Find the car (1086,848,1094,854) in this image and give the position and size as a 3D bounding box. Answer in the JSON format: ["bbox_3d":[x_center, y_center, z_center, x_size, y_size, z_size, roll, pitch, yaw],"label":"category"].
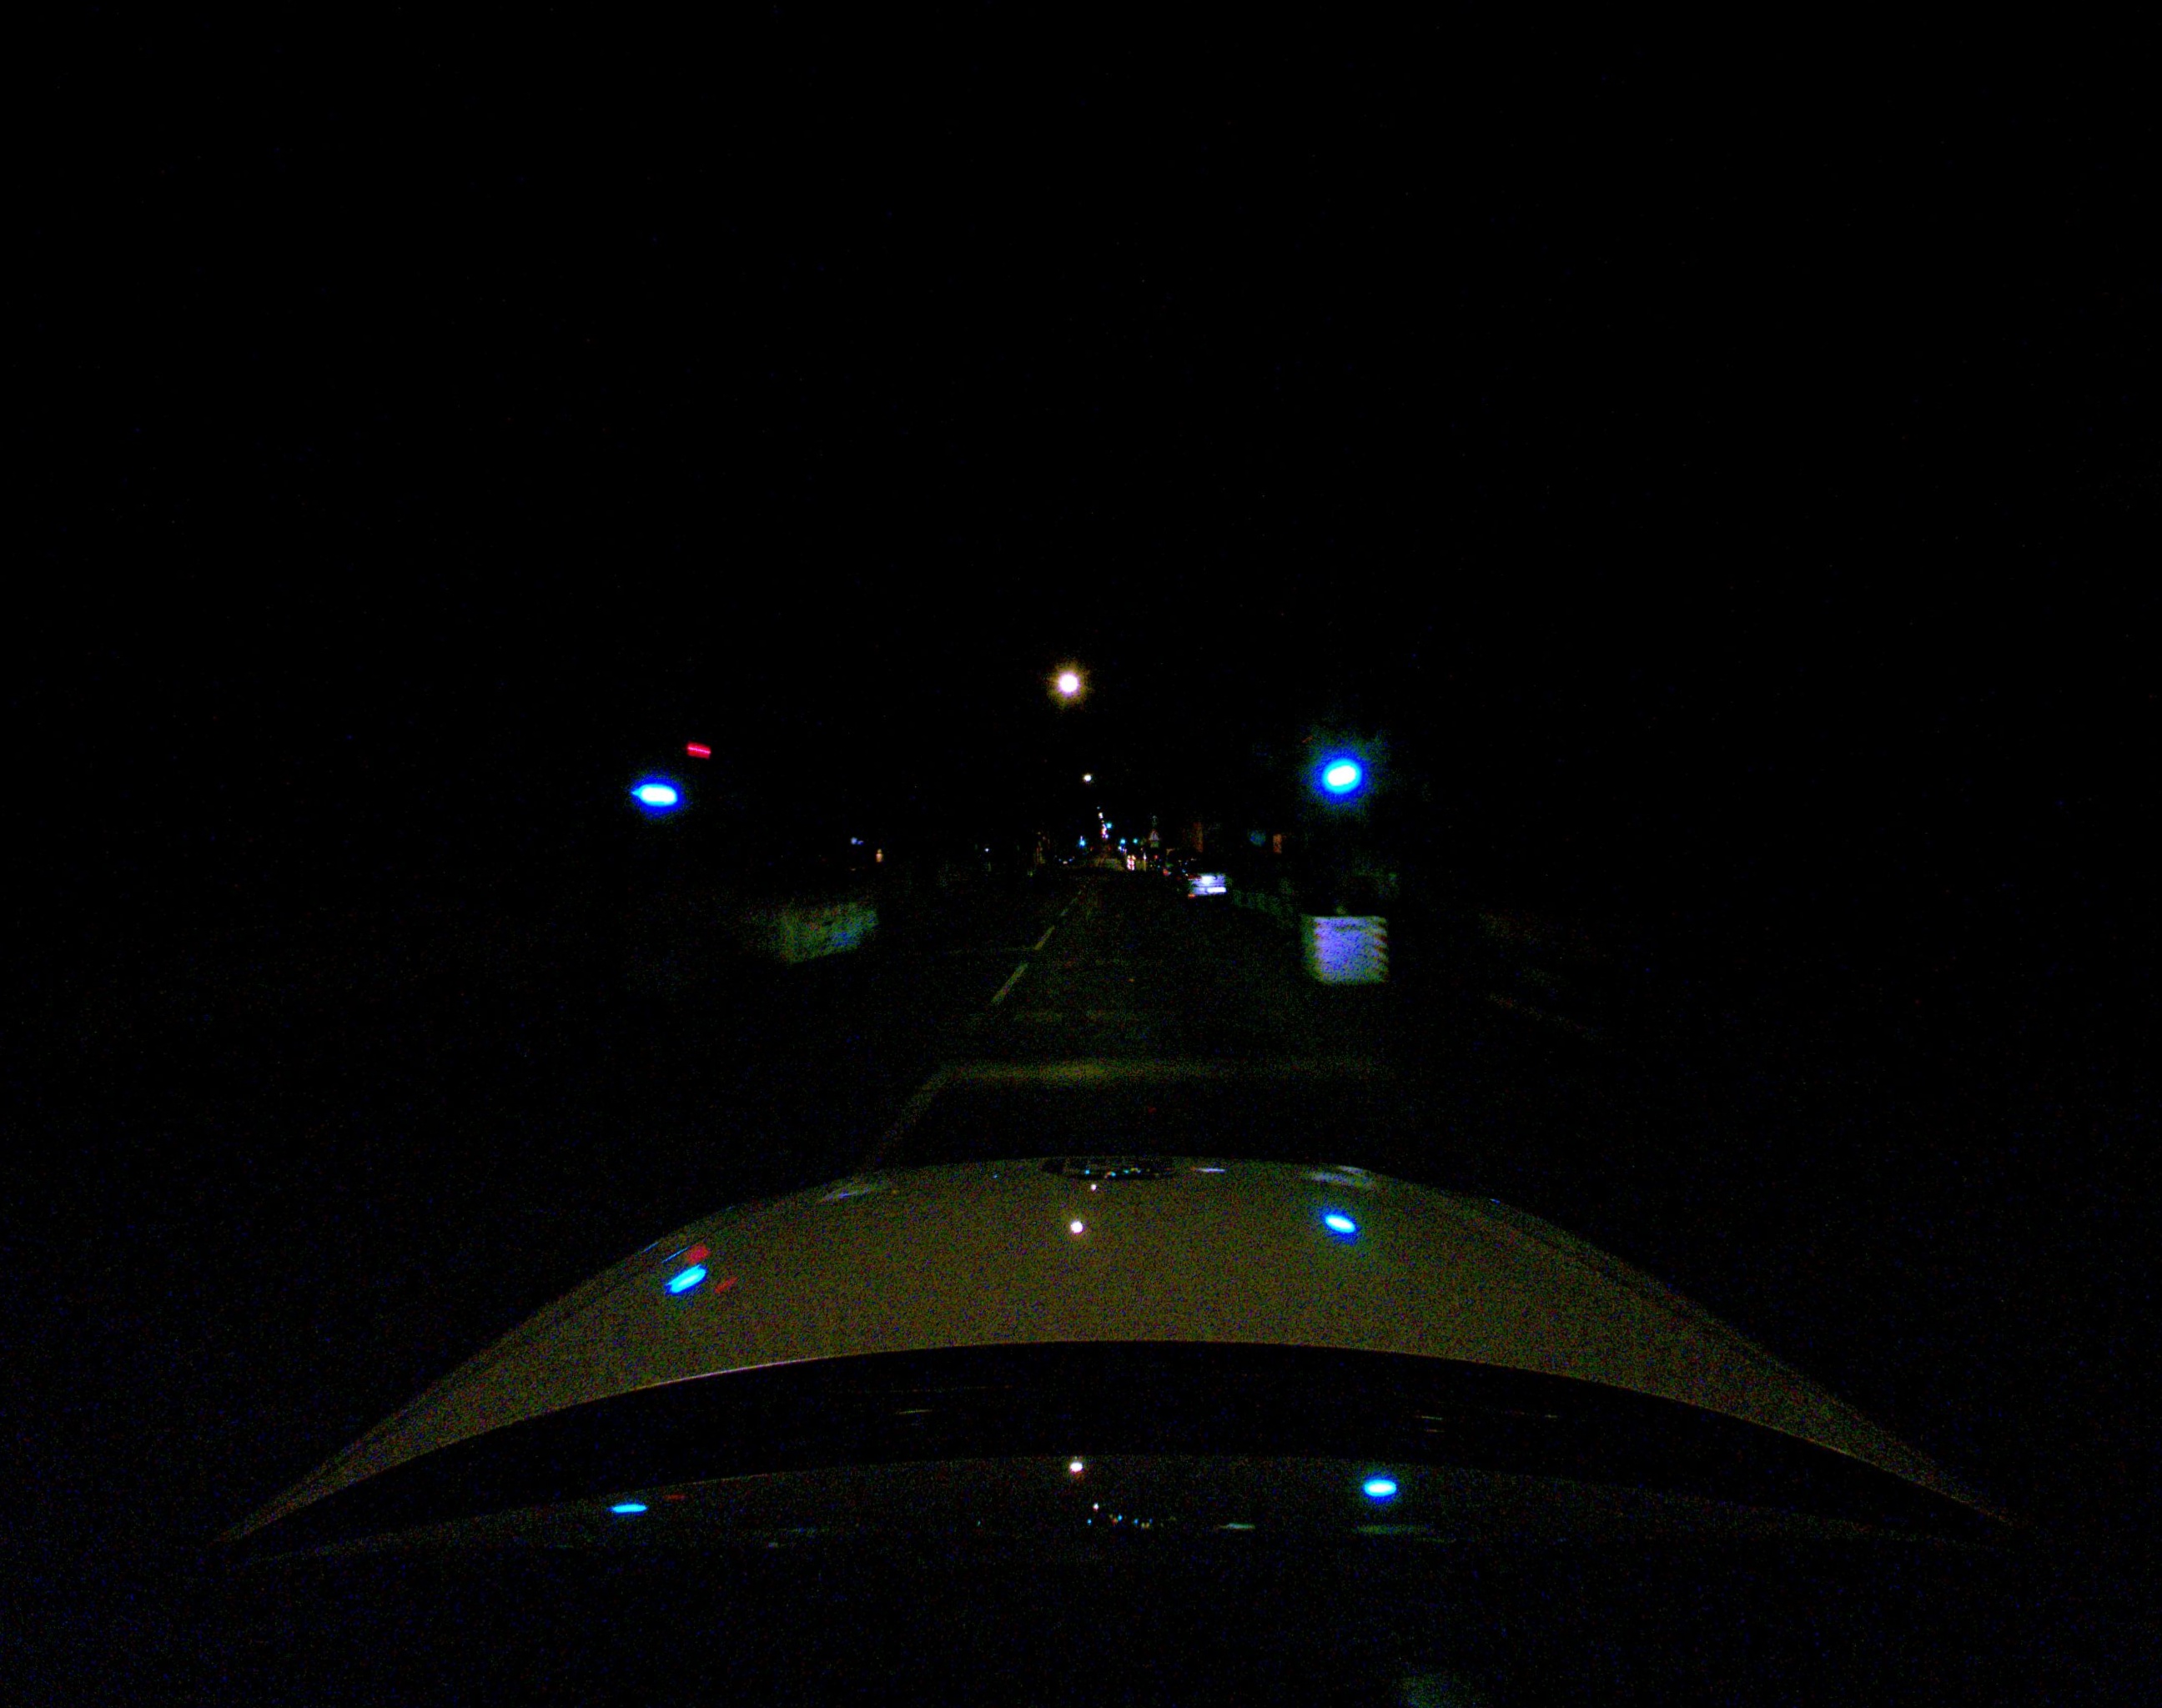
[{"bbox_3d":[2.333,-0.858,213.239,1.866,1.544,4.206,-1,0,2],"label":"car"}]

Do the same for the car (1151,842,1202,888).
[{"bbox_3d":[4.155,0.477,36.171,1.729,1.855,4.316,-2,0,0],"label":"car"}]

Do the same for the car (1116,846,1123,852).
[{"bbox_3d":[10.585,-1.444,225.727,1.866,1.544,4.206,-1,0,2],"label":"car"}]

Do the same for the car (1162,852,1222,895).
[{"bbox_3d":[4.036,0.675,30.164,1.679,1.421,4.445,-2,0,2],"label":"car"}]

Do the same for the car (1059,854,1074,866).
[{"bbox_3d":[-1.781,0.705,103.227,1.664,1.443,4.207,-1,0,2],"label":"car"}]

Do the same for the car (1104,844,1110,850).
[{"bbox_3d":[8.136,-2.221,251.909,1.866,1.814,4.208,-1,0,3],"label":"car"}]

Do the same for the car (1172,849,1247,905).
[{"bbox_3d":[3.854,0.658,24.999,1.733,1.477,4.002,-4,0,2],"label":"car"}]

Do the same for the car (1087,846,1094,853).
[{"bbox_3d":[2.847,-1.304,237.183,1.866,1.814,4.206,-1,0,2],"label":"car"}]

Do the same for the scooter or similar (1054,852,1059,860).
[{"bbox_3d":[-3.866,0.374,129.412,0.526,1.165,2.508,-3,-1,2],"label":"scooter or similar"}]

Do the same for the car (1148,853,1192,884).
[{"bbox_3d":[4.436,0.697,41.160,1.722,1.419,4.322,-2,0,0],"label":"car"}]

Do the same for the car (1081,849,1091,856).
[{"bbox_3d":[1.114,-0.302,175.517,1.866,1.544,4.206,-1,0,2],"label":"car"}]
